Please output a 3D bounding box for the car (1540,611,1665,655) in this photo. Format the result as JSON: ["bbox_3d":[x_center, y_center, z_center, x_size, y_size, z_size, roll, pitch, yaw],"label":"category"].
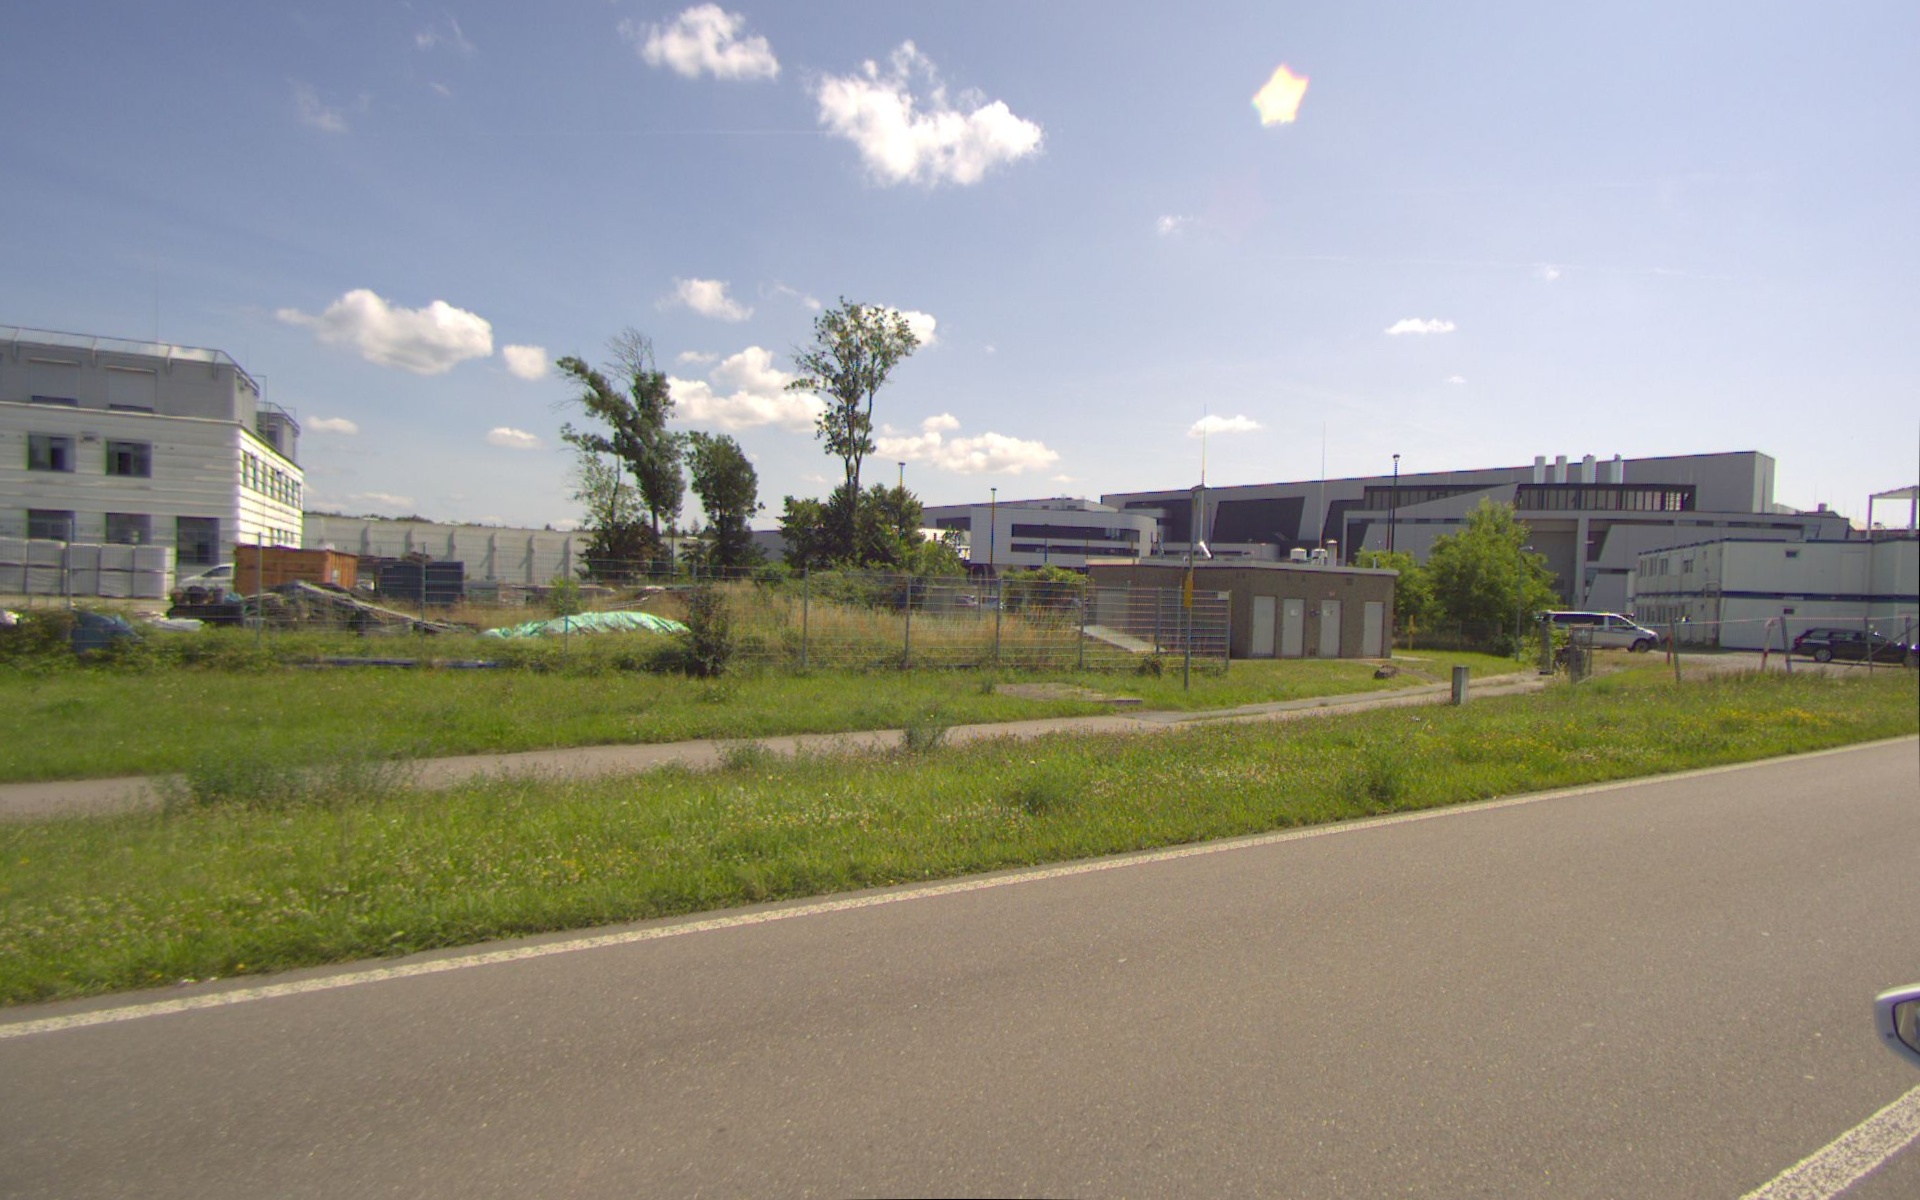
[{"bbox_3d":[32.109,1.617,50.400,4.924,1.892,1.999,2,1,22],"label":"car"}]

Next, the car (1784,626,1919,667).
[{"bbox_3d":[38.431,1.949,42.877,4.912,1.436,1.989,2,1,42],"label":"car"}]

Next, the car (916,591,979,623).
[{"bbox_3d":[-0.824,0.483,69.617,3.920,2.040,2.001,1,0,17],"label":"car"}]

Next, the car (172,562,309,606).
[{"bbox_3d":[-36.248,-0.806,50.822,5.464,2.038,1.733,1,1,-31],"label":"car"}]
